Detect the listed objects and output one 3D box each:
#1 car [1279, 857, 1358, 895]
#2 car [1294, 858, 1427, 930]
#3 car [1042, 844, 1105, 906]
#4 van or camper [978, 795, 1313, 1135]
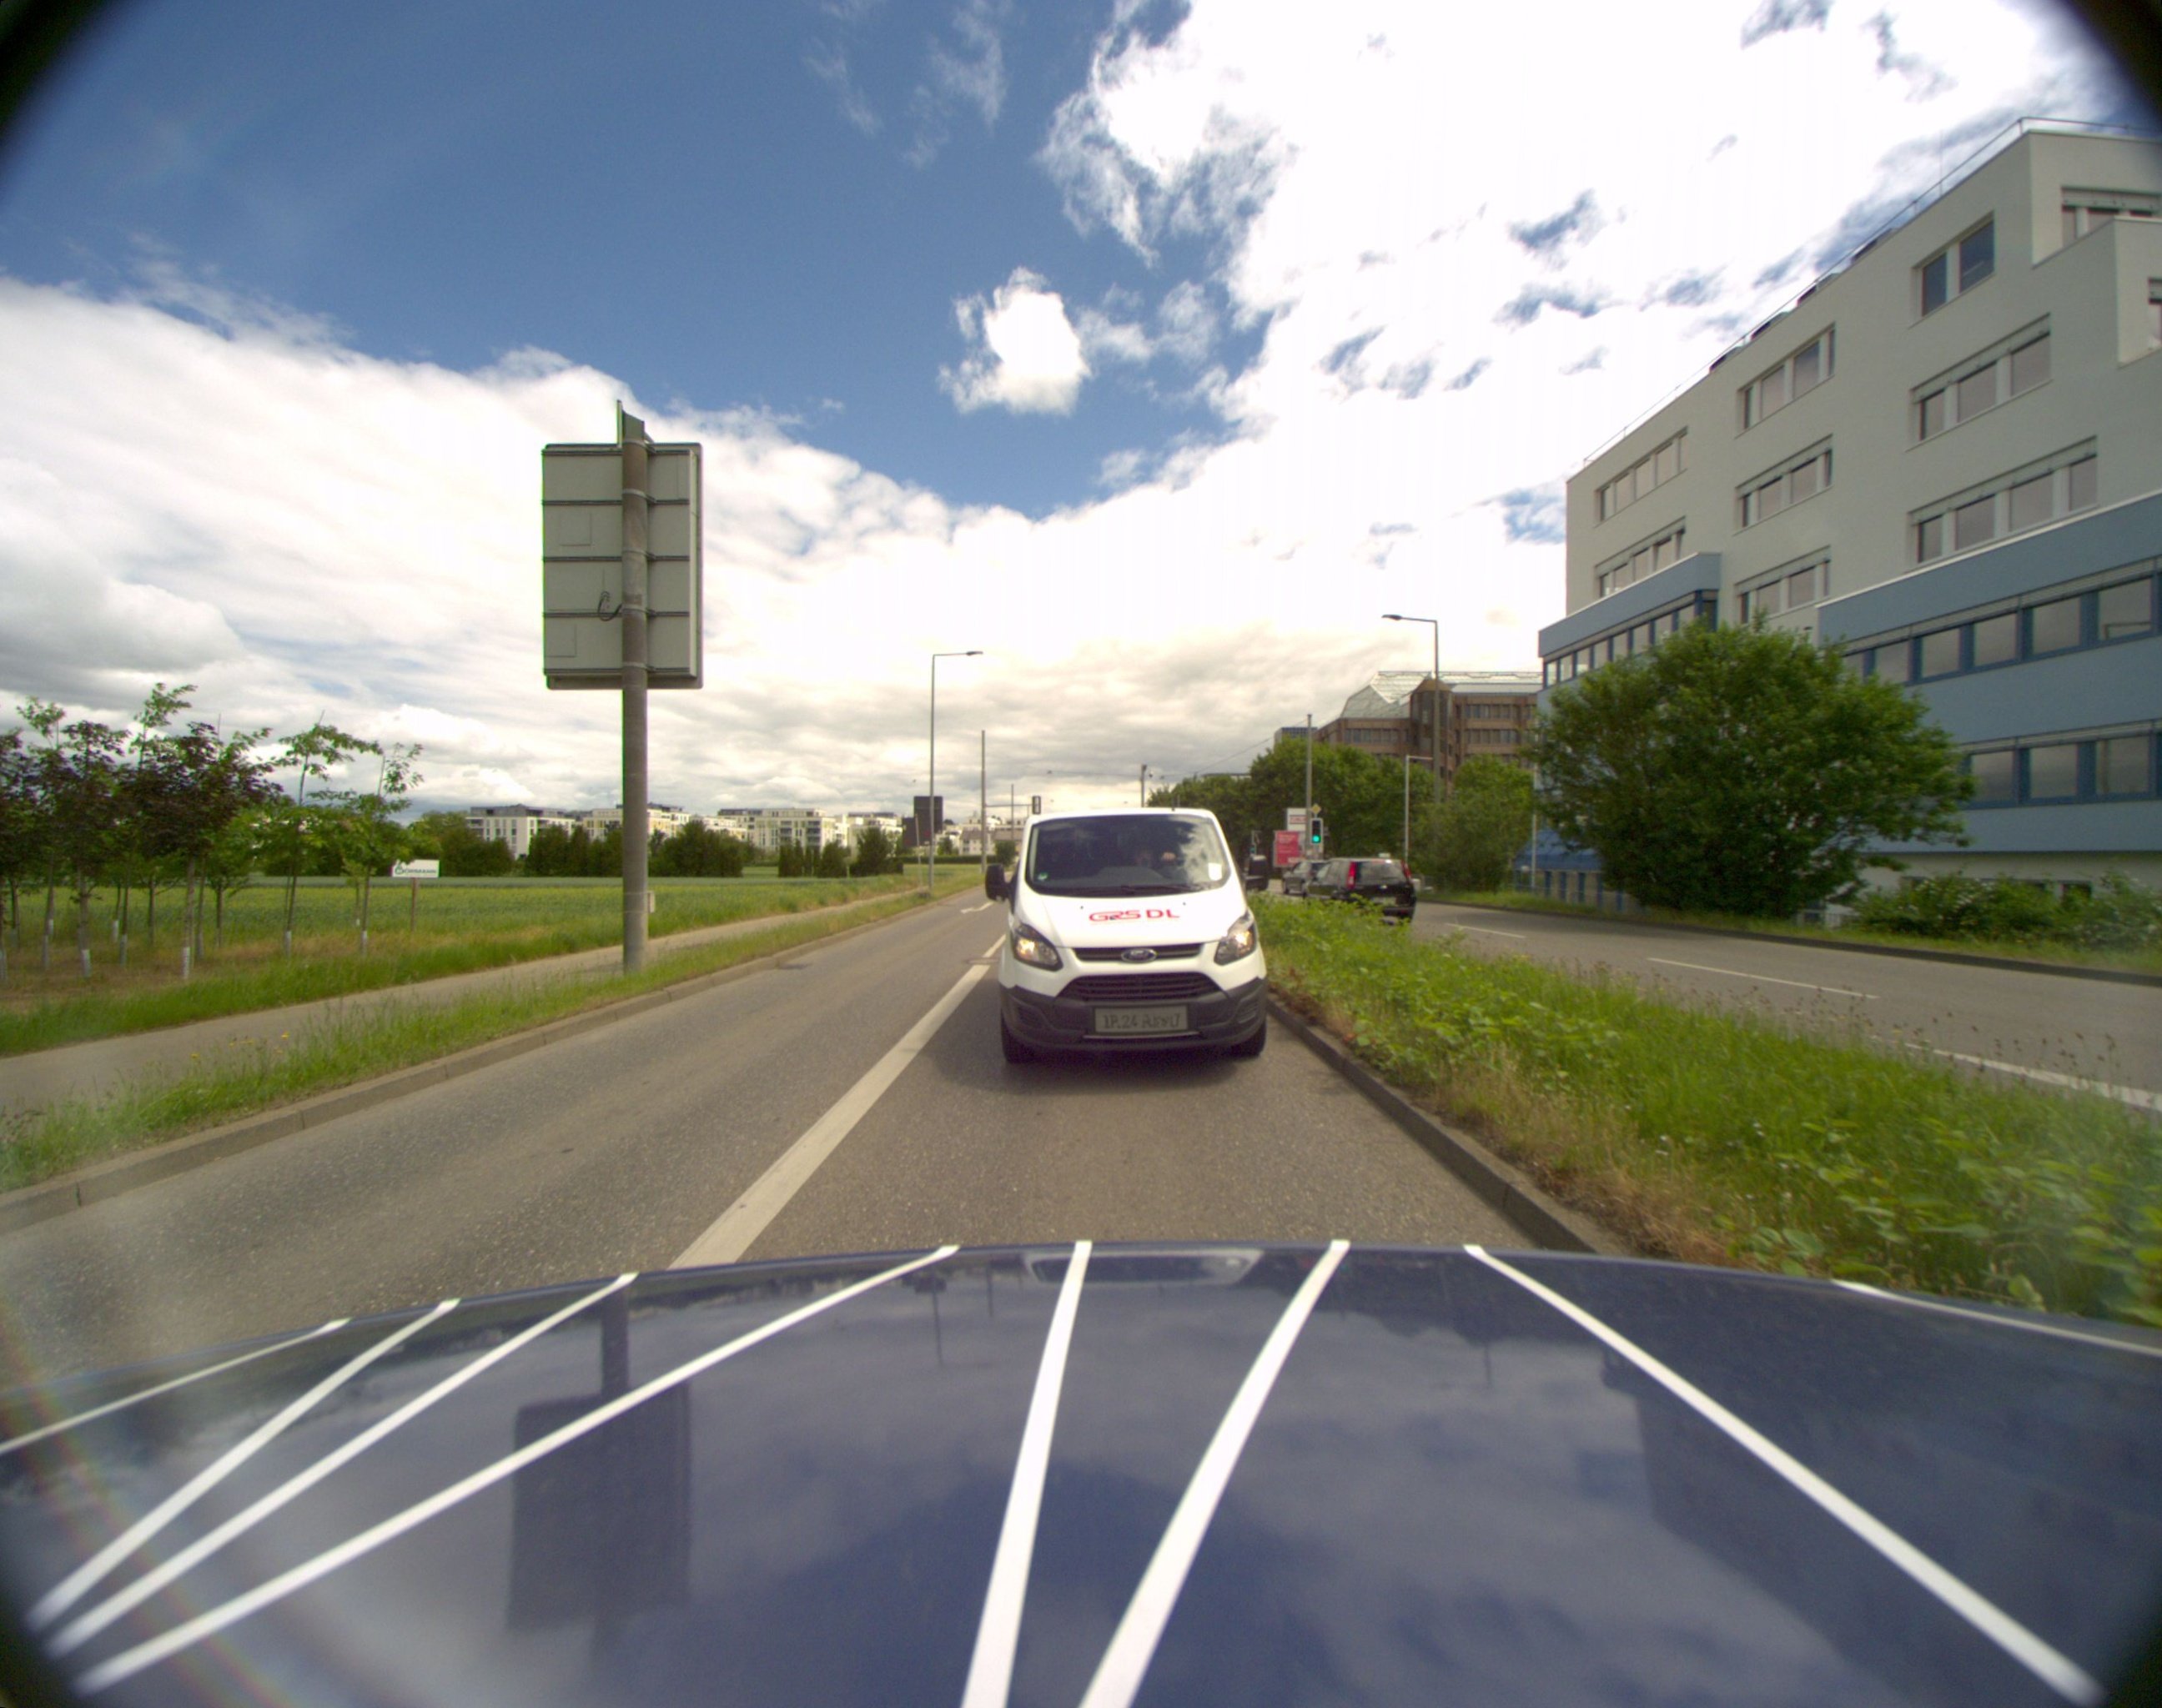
[{"bbox_3d":[9.505,0.837,30.690,1.937,1.390,4.000,-1,0,0],"label":"car"},{"bbox_3d":[6.422,0.852,17.954,1.683,1.473,4.000,-1,0,0],"label":"car"},{"bbox_3d":[-0.207,0.675,26.508,1.998,2.002,4.000,0,0,1],"label":"car"},{"bbox_3d":[0.279,0.661,7.417,1.999,2.002,5.798,0,0,-2],"label":"van or camper"}]
